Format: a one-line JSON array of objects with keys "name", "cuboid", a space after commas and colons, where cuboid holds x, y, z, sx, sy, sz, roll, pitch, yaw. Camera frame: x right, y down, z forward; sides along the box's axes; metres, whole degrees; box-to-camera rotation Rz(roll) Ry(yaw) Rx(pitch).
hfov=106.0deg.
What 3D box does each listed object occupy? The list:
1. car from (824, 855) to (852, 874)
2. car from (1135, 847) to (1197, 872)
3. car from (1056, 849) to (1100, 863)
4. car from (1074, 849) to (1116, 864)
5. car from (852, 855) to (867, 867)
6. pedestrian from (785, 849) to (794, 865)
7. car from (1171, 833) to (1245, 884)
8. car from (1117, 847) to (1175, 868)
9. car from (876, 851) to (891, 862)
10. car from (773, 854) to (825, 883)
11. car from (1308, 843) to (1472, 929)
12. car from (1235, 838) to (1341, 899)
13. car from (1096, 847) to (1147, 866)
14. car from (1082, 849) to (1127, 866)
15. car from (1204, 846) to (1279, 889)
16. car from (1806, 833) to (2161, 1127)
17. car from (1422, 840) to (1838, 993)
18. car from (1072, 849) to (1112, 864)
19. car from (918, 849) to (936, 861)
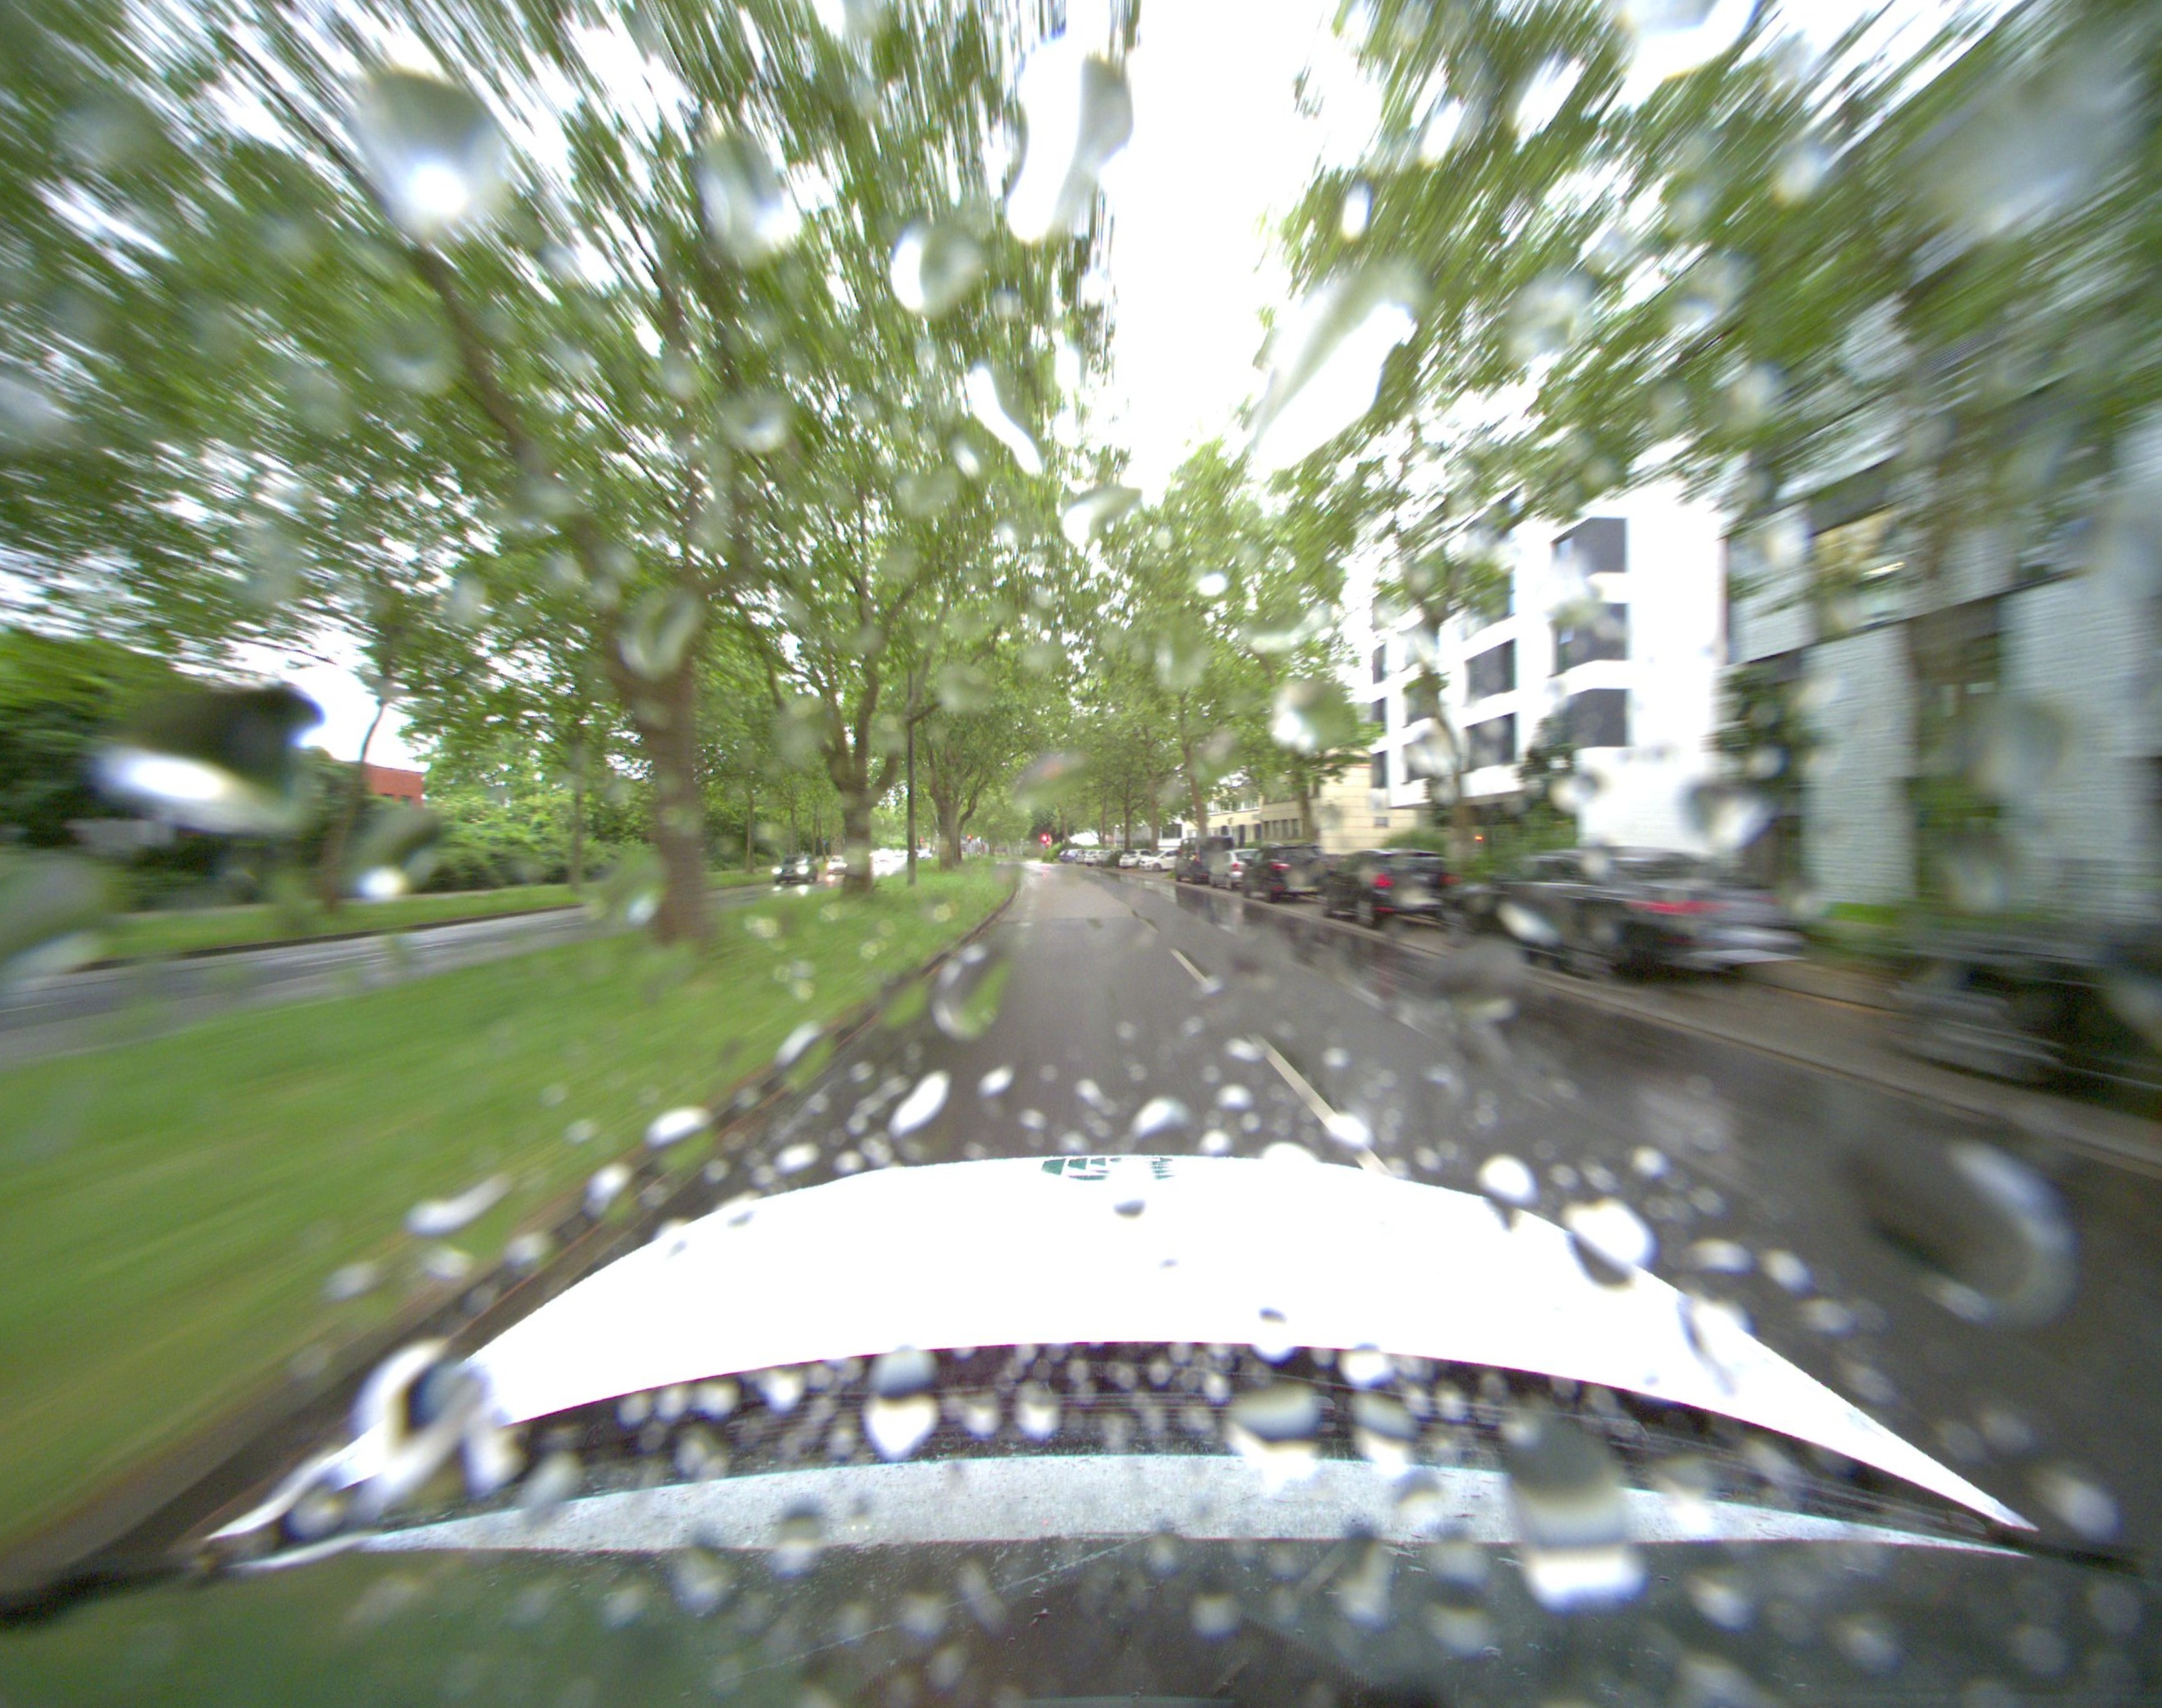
[{"name": "car", "cuboid": [-19.580, 0.858, 65.770, 1.743, 1.459, 3.828, -1, 0, -10]}, {"name": "car", "cuboid": [5.571, 0.333, 53.536, 3.650, 1.504, 1.736, -1, 1, -23]}, {"name": "car", "cuboid": [-0.290, 0.177, 86.432, 4.515, 1.459, 1.730, -1, 0, -35]}, {"name": "car", "cuboid": [1.322, 0.248, 77.596, 3.711, 1.416, 1.755, -1, 0, -39]}, {"name": "car", "cuboid": [-30.516, 0.958, 112.485, 1.745, 1.476, 4.065, -1, 0, -12]}, {"name": "pedestrian", "cuboid": [-31.712, 0.344, 88.524, 0.832, 1.674, 0.895, -1, 0, -14]}, {"name": "car", "cuboid": [5.421, 0.162, 35.525, 2.116, 2.028, 5.522, -1, 0, -3]}, {"name": "car", "cuboid": [4.626, 0.224, 57.810, 4.058, 1.428, 1.729, -1, 0, -38]}, {"name": "car", "cuboid": [-26.386, 0.313, 108.624, 1.747, 1.476, 4.387, -1, 0, -15]}, {"name": "car", "cuboid": [-16.269, 0.793, 47.185, 1.740, 1.561, 4.361, -1, 0, -5]}, {"name": "car", "cuboid": [5.972, 0.550, 16.278, 1.737, 1.476, 4.082, -1, 0, 0]}, {"name": "car", "cuboid": [5.792, 0.368, 23.377, 1.739, 1.566, 4.367, -1, 0, -3]}, {"name": "car", "cuboid": [3.363, 0.189, 67.063, 4.059, 1.539, 1.728, -1, 0, -40]}, {"name": "car", "cuboid": [2.103, 0.279, 72.117, 3.708, 1.416, 1.730, -1, 0, -35]}, {"name": "car", "cuboid": [5.855, 0.466, 30.203, 1.739, 1.469, 4.301, -1, 0, -3]}, {"name": "car", "cuboid": [6.276, 0.625, 3.704, 1.736, 1.428, 4.863, -3, 0, 3]}, {"name": "car", "cuboid": [6.270, 0.581, 10.260, 1.738, 1.428, 5.101, -1, 0, -1]}, {"name": "car", "cuboid": [1.104, 0.284, 80.869, 3.711, 1.416, 1.729, -1, 0, -39]}, {"name": "car", "cuboid": [-21.679, 0.169, 114.827, 1.750, 1.650, 4.276, -1, 0, -21]}]
